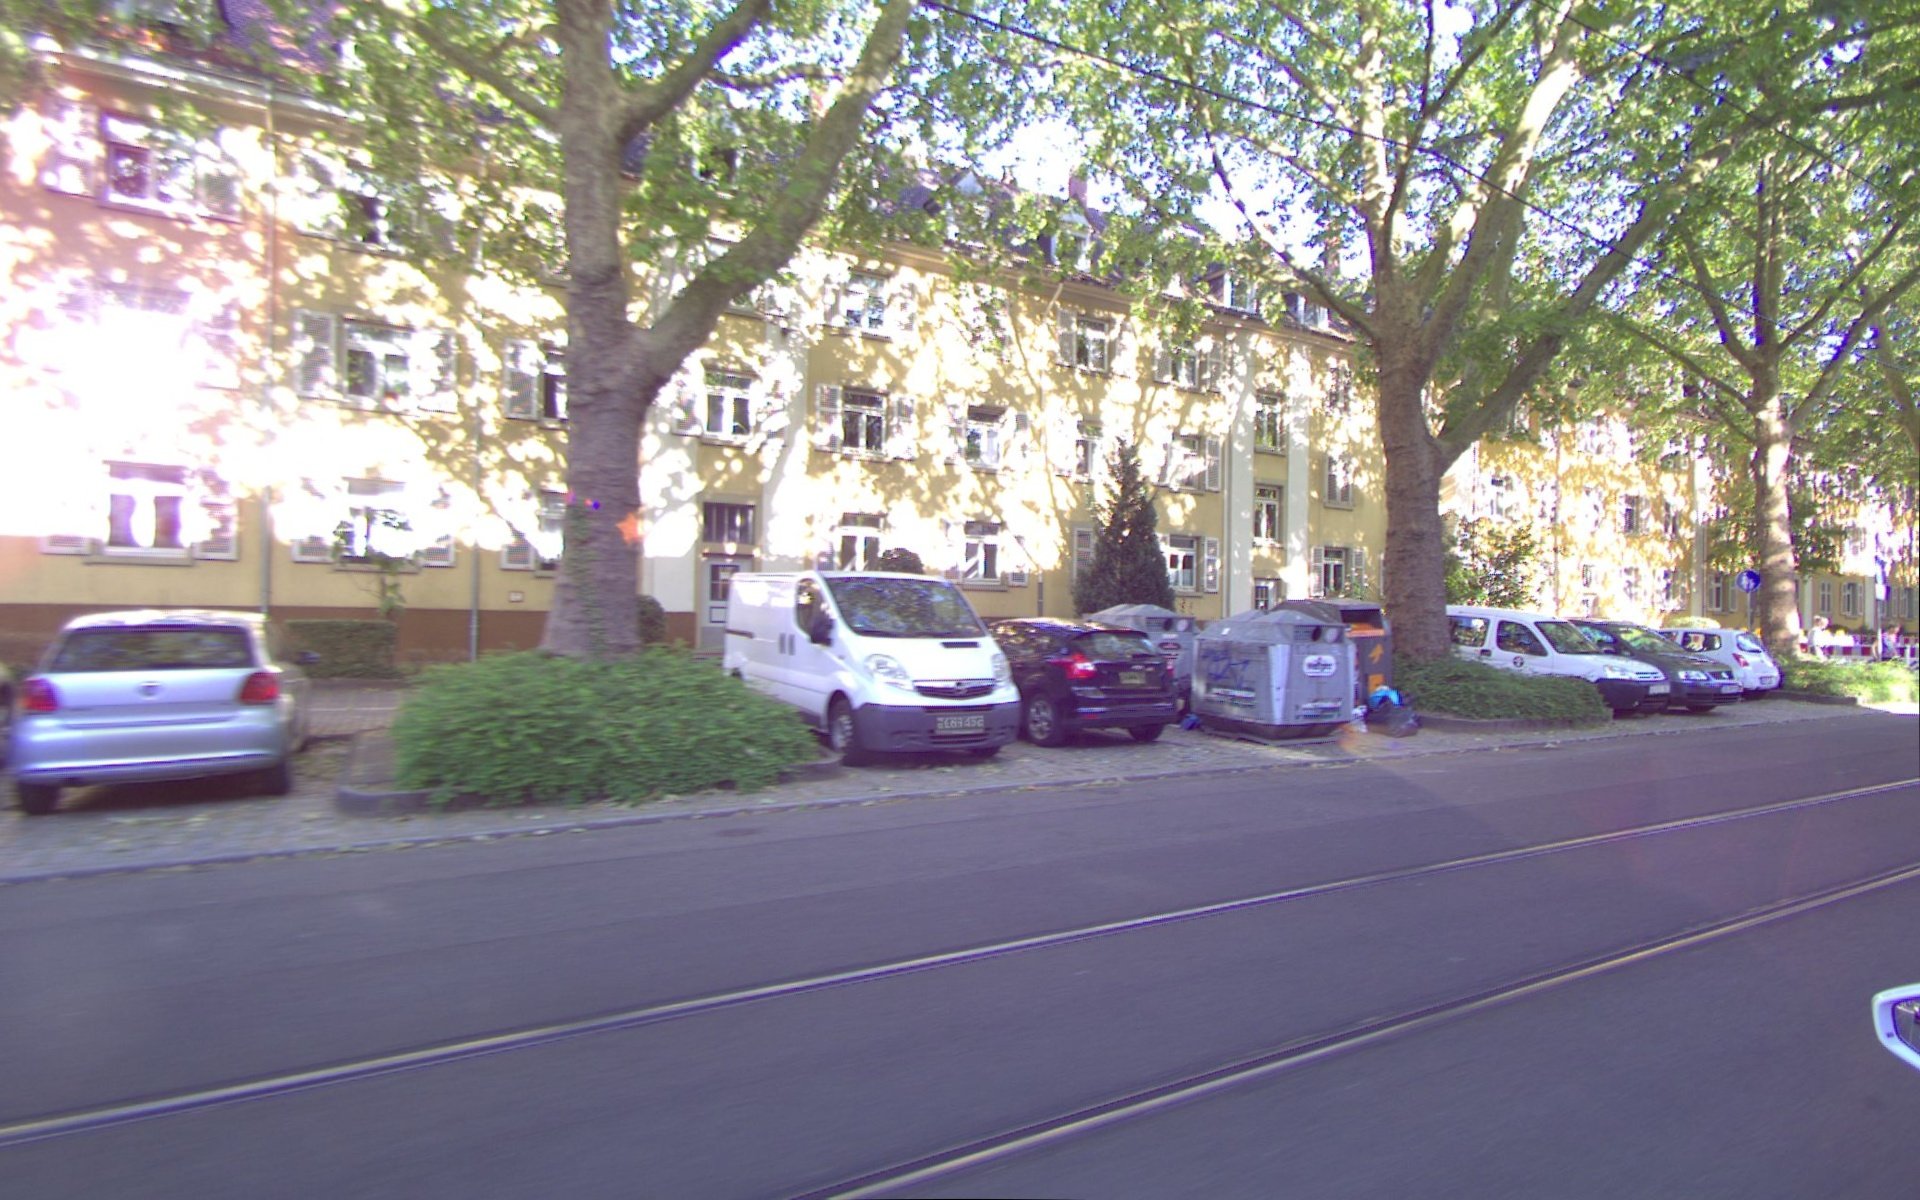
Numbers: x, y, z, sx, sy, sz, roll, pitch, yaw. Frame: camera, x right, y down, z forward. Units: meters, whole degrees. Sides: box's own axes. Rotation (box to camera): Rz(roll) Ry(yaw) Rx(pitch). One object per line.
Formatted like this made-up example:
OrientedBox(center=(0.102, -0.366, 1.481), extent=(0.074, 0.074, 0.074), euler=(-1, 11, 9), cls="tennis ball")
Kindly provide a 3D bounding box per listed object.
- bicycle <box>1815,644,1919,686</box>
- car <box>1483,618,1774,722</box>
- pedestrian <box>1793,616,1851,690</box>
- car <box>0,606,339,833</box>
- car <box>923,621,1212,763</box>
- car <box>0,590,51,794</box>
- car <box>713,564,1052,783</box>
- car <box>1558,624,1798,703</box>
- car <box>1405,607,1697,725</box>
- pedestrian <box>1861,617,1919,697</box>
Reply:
OrientedBox(center=(23.563, 1.661, 26.072), extent=(0.717, 0.975, 1.964), euler=(1, -1, -28), cls="bicycle")
OrientedBox(center=(12.319, 1.210, 18.855), extent=(1.905, 1.710, 4.226), euler=(1, -1, -22), cls="car")
OrientedBox(center=(21.097, 1.286, 24.591), extent=(0.787, 1.768, 0.818), euler=(2, 0, -30), cls="pedestrian")
OrientedBox(center=(-6.652, 0.848, 8.804), extent=(1.840, 1.517, 3.831), euler=(1, -1, -29), cls="car")
OrientedBox(center=(1.198, 1.030, 12.841), extent=(1.840, 1.517, 3.831), euler=(1, -1, -29), cls="car")
OrientedBox(center=(-8.420, 0.738, 7.278), extent=(1.840, 1.685, 3.831), euler=(1, -1, -29), cls="car")
OrientedBox(center=(-1.132, 0.675, 11.539), extent=(1.940, 1.971, 4.631), euler=(1, 0, -32), cls="car")
OrientedBox(center=(15.378, 1.293, 21.713), extent=(1.840, 1.517, 3.831), euler=(1, -1, -29), cls="car")
OrientedBox(center=(10.257, 1.051, 17.787), extent=(1.718, 1.781, 4.181), euler=(1, 0, -28), cls="car")
OrientedBox(center=(21.135, 1.278, 22.787), extent=(0.787, 1.768, 0.818), euler=(2, 0, -30), cls="pedestrian")
